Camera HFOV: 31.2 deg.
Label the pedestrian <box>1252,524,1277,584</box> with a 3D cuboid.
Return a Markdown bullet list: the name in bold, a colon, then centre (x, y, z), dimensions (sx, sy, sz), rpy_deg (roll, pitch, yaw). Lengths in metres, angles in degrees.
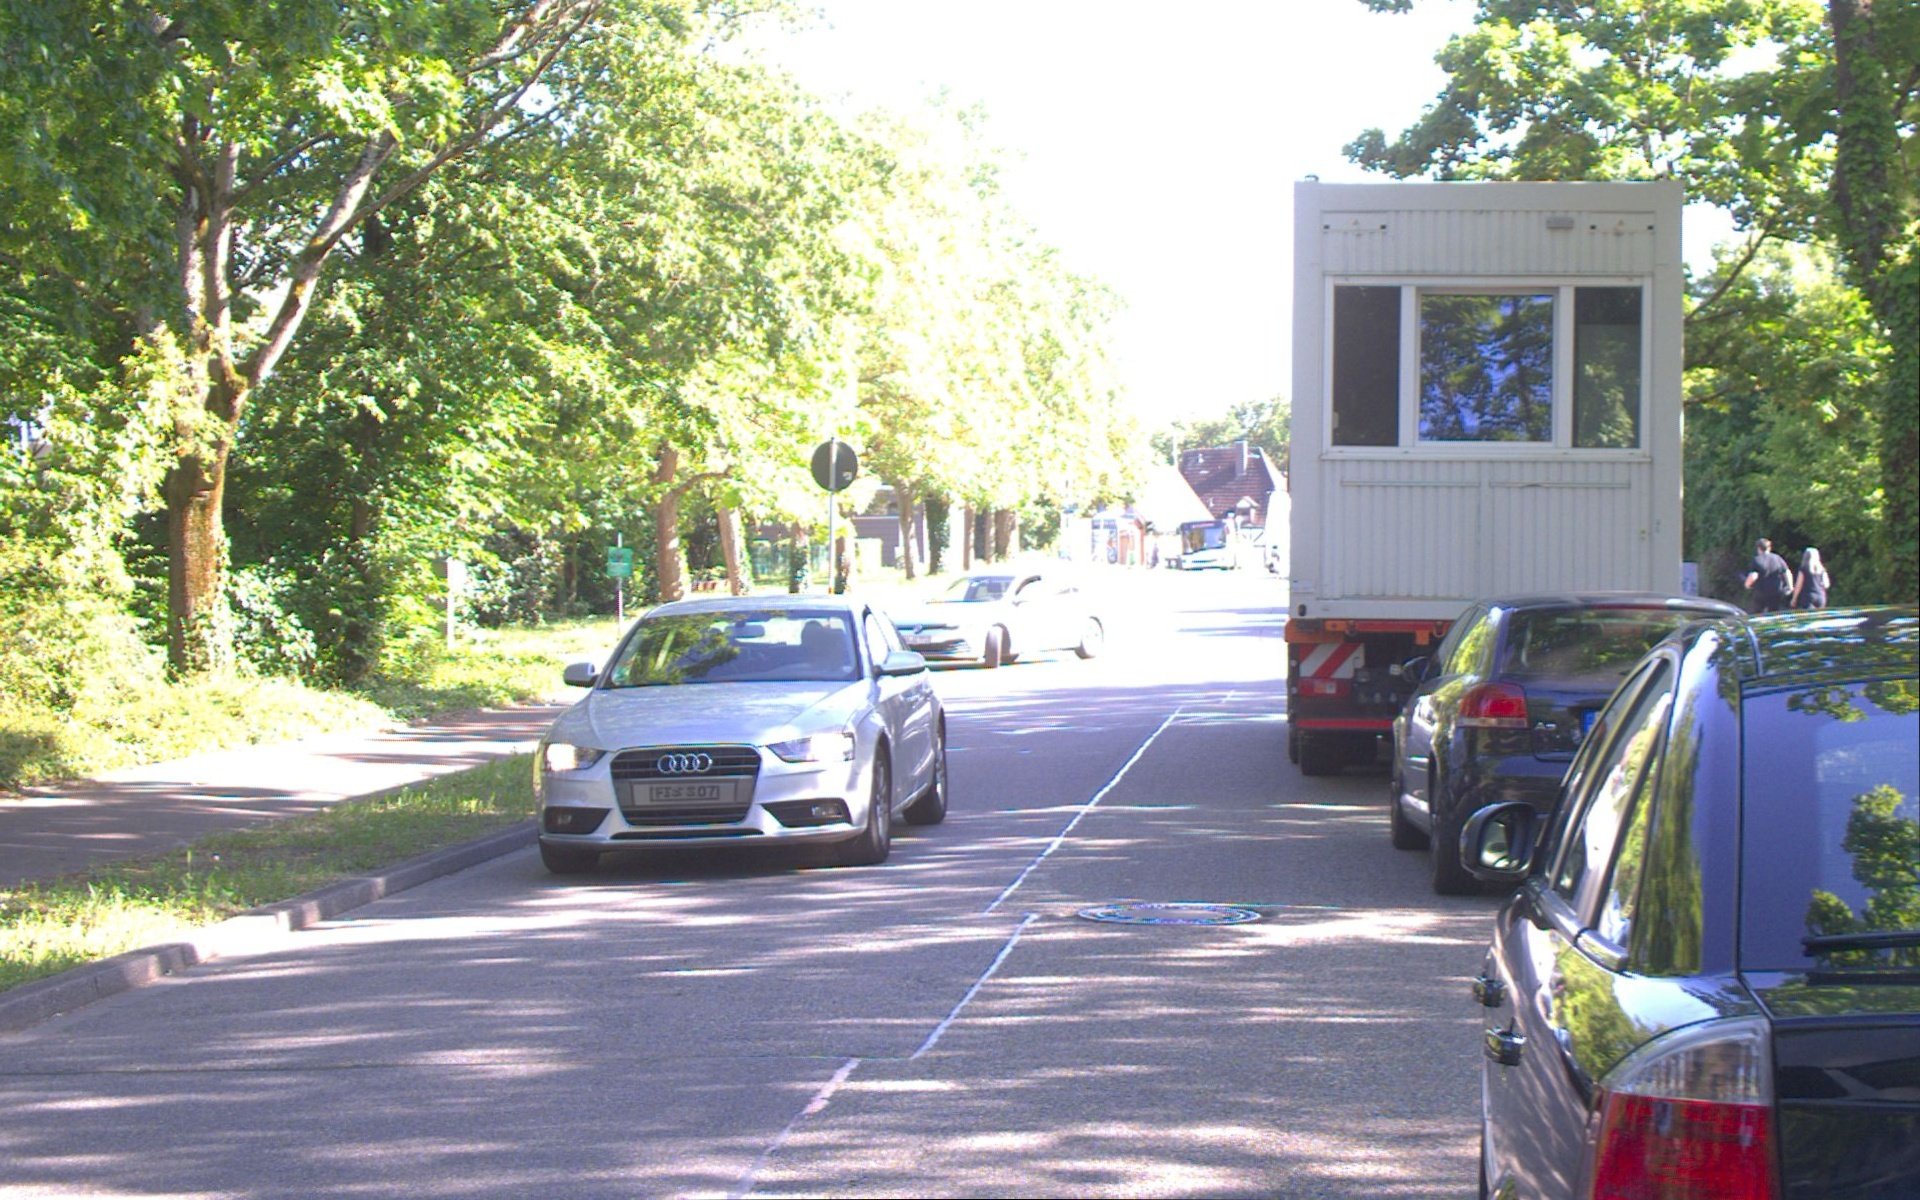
- **pedestrian**: centre (10.687, -1.615, 120.569), dimensions (0.752, 2.106, 0.799), rpy_deg (1, 1, 9)

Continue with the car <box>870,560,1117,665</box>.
- **car**: centre (0.549, 0.175, 52.158), dimensions (1.809, 1.415, 3.952), rpy_deg (-2, 1, 35)

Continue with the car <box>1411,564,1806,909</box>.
- **car**: centre (3.096, 0.580, 16.942), dimensions (1.640, 1.415, 3.999), rpy_deg (-2, 1, 8)

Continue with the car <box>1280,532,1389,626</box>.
- **car**: centre (7.499, -0.439, 69.135), dimensions (1.947, 1.836, 4.000), rpy_deg (0, 1, 3)

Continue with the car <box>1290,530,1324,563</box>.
- **car**: centre (19.217, -2.964, 190.288), dimensions (1.781, 1.802, 3.999), rpy_deg (-1, 1, 5)

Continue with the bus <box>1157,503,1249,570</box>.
- **bus**: centre (12.936, -3.348, 182.037), dimensions (4.066, 3.337, 9.797), rpy_deg (-2, 1, 8)

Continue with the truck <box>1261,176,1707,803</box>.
- **truck**: centre (3.824, -0.809, 27.152), dimensions (2.773, 3.982, 10.346), rpy_deg (1, 1, 5)

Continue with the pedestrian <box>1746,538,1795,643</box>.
- **pedestrian**: centre (12.579, -0.148, 53.387), dimensions (0.598, 1.605, 0.600), rpy_deg (-2, 1, 3)

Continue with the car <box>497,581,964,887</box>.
- **car**: centre (-1.147, 0.659, 19.111), dimensions (1.787, 1.412, 4.103), rpy_deg (-2, 1, 7)

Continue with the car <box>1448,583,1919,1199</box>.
- **car**: centre (1.623, 0.718, 5.110), dimensions (1.749, 1.475, 4.029), rpy_deg (0, 0, 8)

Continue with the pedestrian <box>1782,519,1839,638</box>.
- **pedestrian**: centre (13.154, -0.330, 53.178), dimensions (0.698, 1.806, 0.700), rpy_deg (-2, 1, 3)
